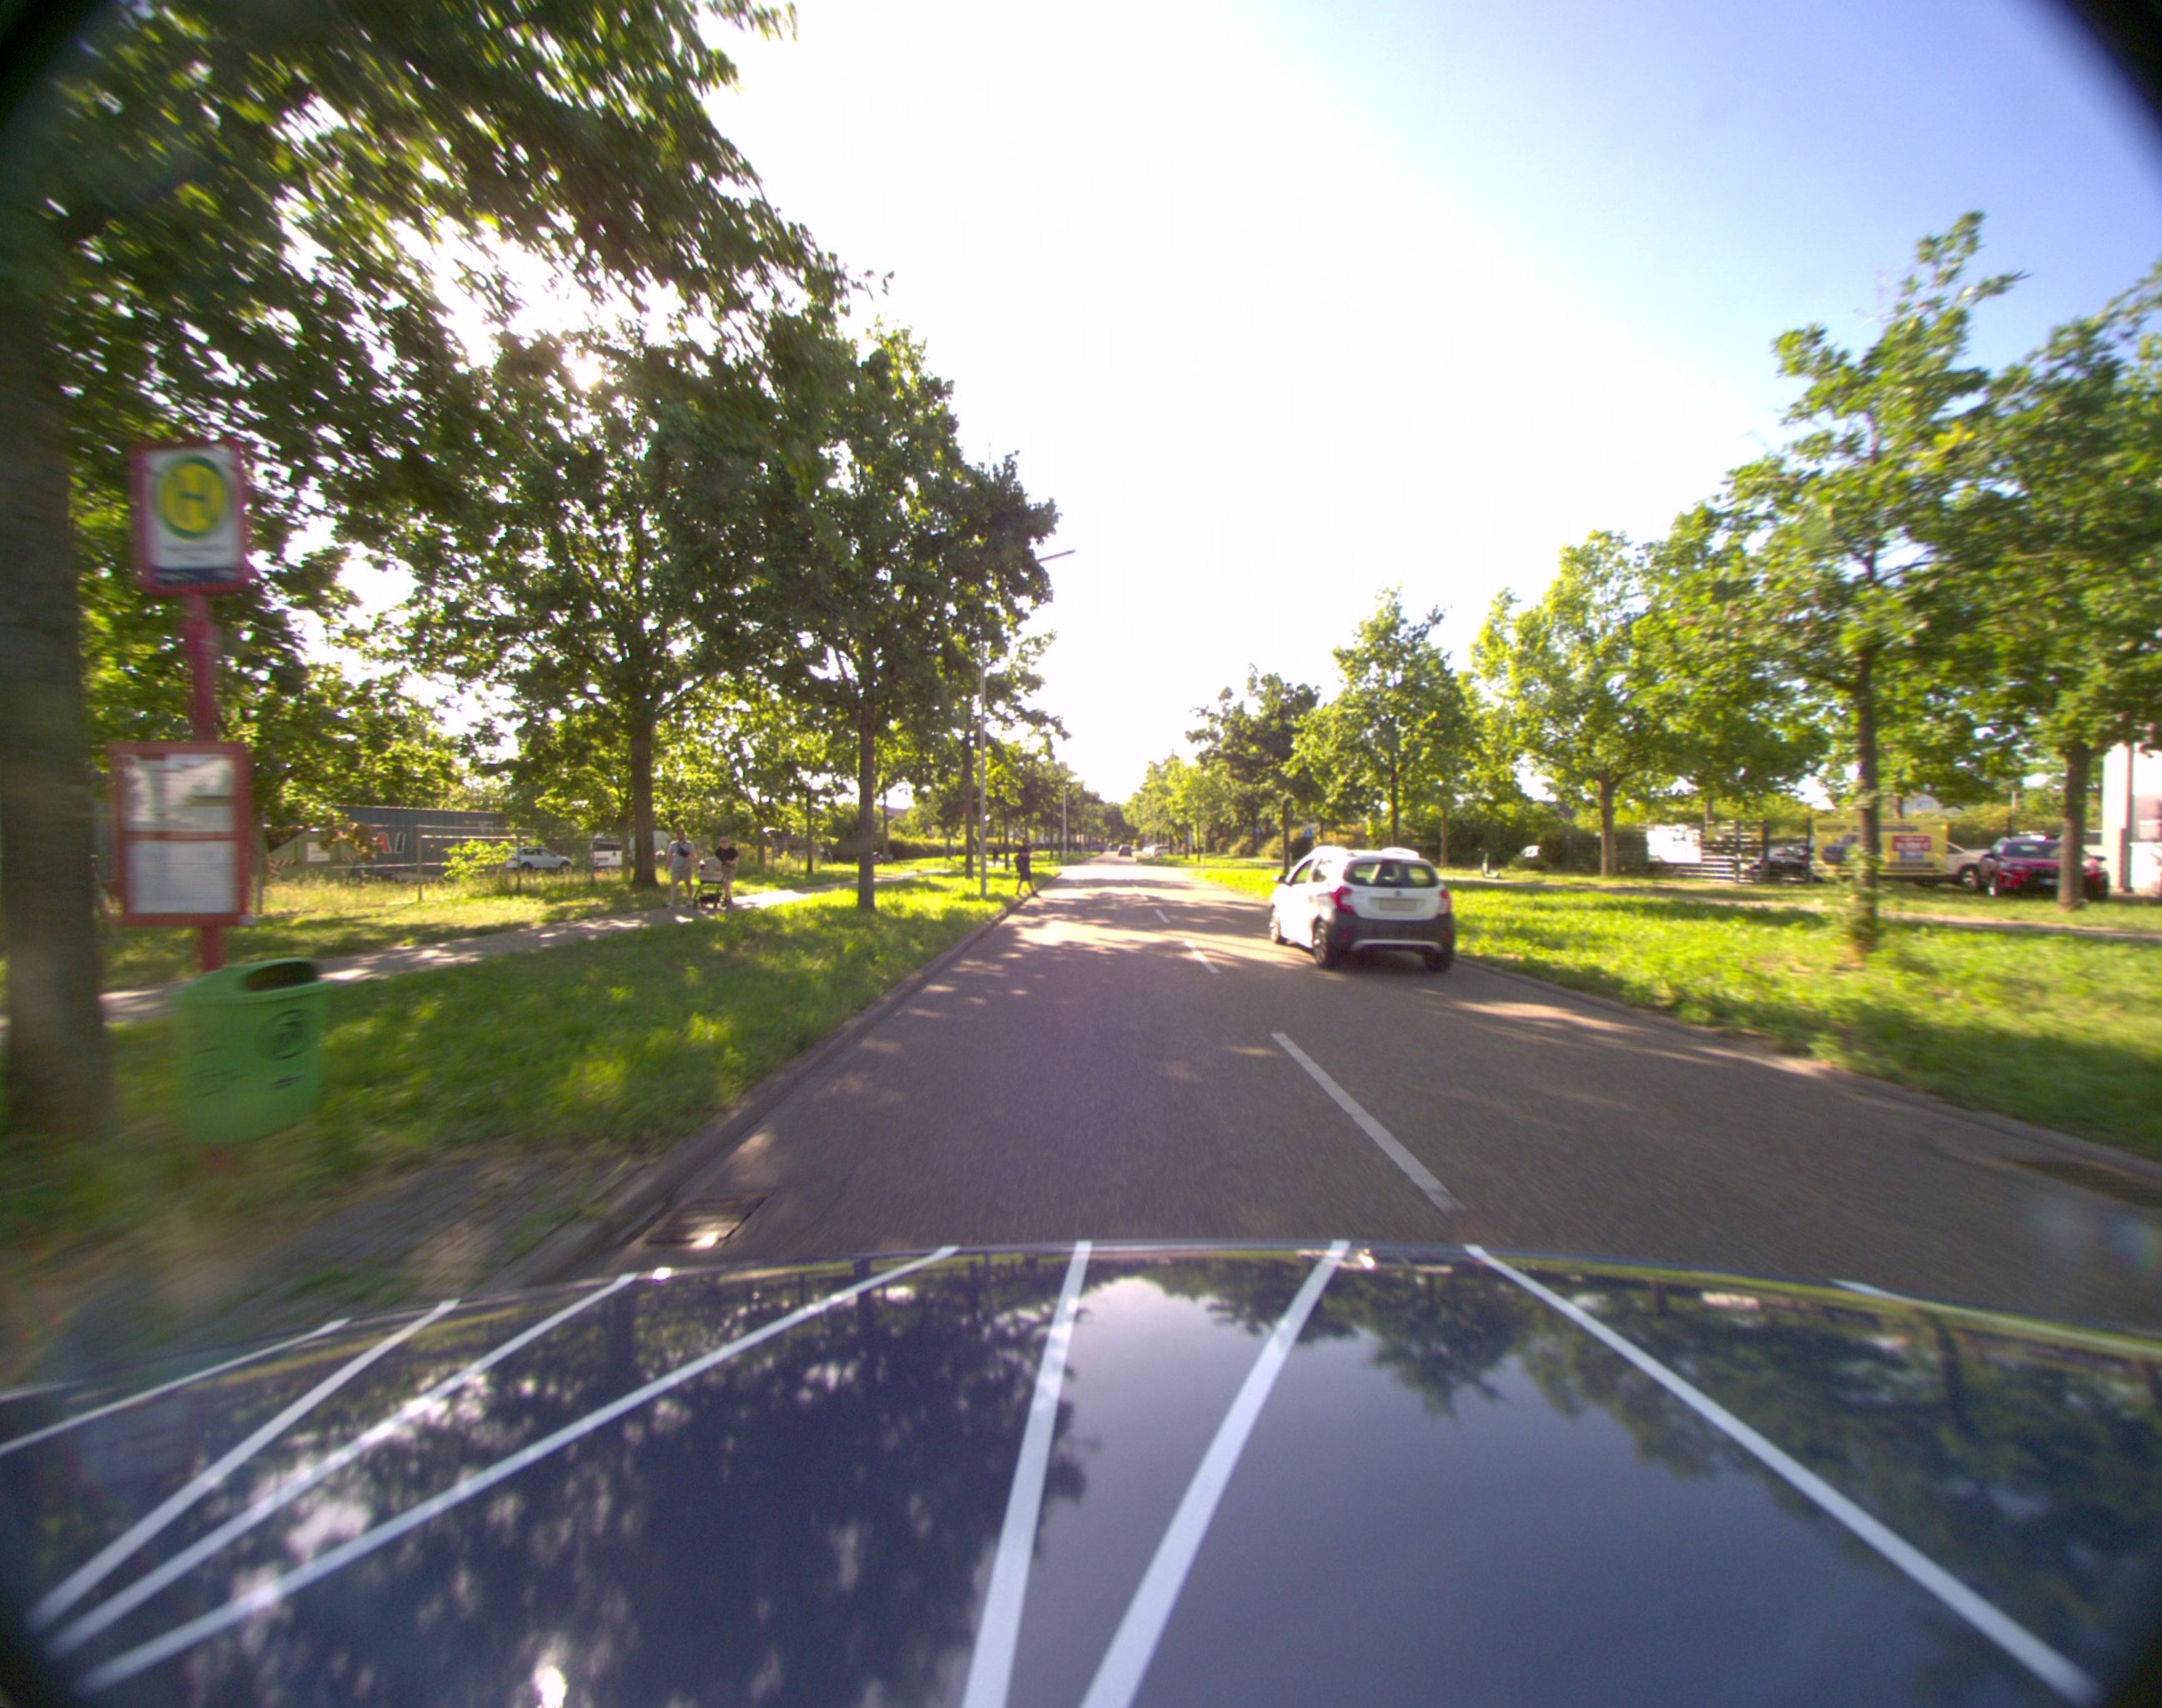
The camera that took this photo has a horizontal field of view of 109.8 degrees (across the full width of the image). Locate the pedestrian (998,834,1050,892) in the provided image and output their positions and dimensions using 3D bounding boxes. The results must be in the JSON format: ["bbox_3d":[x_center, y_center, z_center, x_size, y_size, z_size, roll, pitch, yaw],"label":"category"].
[{"bbox_3d":[-1.657,0.243,22.027,1.102,1.642,1.020,-1,2,-42],"label":"pedestrian"}]

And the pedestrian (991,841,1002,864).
[{"bbox_3d":[-6.693,-0.121,59.958,0.727,1.802,0.867,0,2,1],"label":"pedestrian"}]

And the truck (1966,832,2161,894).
[{"bbox_3d":[31.475,0.253,23.749,4.682,1.773,2.027,-2,1,12],"label":"truck"}]

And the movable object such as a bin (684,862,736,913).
[{"bbox_3d":[-8.273,0.734,16.974,0.727,1.075,0.867,2,1,1],"label":"movable object such as a bin"}]

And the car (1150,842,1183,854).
[{"bbox_3d":[11.877,-0.861,105.731,4.422,1.502,2.088,-2,1,3],"label":"car"}]

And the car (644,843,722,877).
[{"bbox_3d":[-20.424,0.260,39.174,2.010,1.655,3.596,0,1,2],"label":"car"}]

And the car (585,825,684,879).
[{"bbox_3d":[-23.067,-0.134,39.507,2.165,2.628,4.850,0,1,2],"label":"car"}]

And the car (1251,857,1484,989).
[{"bbox_3d":[3.810,0.814,11.021,1.748,1.456,4.426,1,1,1],"label":"car"}]

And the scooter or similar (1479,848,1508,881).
[{"bbox_3d":[16.177,0.402,29.848,0.396,1.272,1.441,0,1,2],"label":"scooter or similar"}]

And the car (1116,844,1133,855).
[{"bbox_3d":[5.893,-0.613,103.492,1.810,1.528,4.493,1,1,-4],"label":"car"}]

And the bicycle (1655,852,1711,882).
[{"bbox_3d":[22.868,0.475,28.930,0.641,1.081,1.891,0,1,1],"label":"bicycle"}]

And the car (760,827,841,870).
[{"bbox_3d":[-18.439,-0.298,50.313,2.087,2.550,5.980,-2,-2,13],"label":"car"}]

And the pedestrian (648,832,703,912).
[{"bbox_3d":[-9.042,0.385,16.976,0.727,1.745,0.867,0,1,1],"label":"pedestrian"}]

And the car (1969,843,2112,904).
[{"bbox_3d":[25.166,0.432,20.089,1.796,1.440,4.008,1,1,44],"label":"car"}]

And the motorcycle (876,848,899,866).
[{"bbox_3d":[-15.380,0.220,60.525,0.663,1.225,2.407,0,5,13],"label":"motorcycle"}]

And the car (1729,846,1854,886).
[{"bbox_3d":[27.348,0.399,29.424,1.798,1.440,4.004,0,1,14],"label":"car"}]

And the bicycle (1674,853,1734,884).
[{"bbox_3d":[22.526,0.501,27.530,0.641,1.081,1.891,0,1,1],"label":"bicycle"}]

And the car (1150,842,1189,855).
[{"bbox_3d":[11.050,-0.680,95.062,4.638,1.549,2.191,-2,1,0],"label":"car"}]

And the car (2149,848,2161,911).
[{"bbox_3d":[25.059,0.594,16.450,4.008,1.440,1.796,-1,1,-41],"label":"car"}]

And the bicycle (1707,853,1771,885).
[{"bbox_3d":[23.518,0.513,27.203,0.641,1.081,1.891,0,1,1],"label":"bicycle"}]

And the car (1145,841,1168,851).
[{"bbox_3d":[13.557,-1.421,136.649,4.071,1.633,1.876,-2,1,6],"label":"car"}]

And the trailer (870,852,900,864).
[{"bbox_3d":[-16.134,0.326,62.494,1.581,0.864,2.055,0,5,14],"label":"trailer"}]

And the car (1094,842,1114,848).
[{"bbox_3d":[5.248,-2.022,172.611,4.510,1.471,1.942,0,1,5],"label":"car"}]

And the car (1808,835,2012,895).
[{"bbox_3d":[26.728,0.340,24.669,4.023,1.773,2.027,-2,1,12],"label":"car"}]

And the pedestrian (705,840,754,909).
[{"bbox_3d":[-8.244,0.466,17.844,0.727,1.594,0.867,0,1,1],"label":"pedestrian"}]

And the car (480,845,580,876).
[{"bbox_3d":[-30.073,0.320,41.606,1.836,1.630,4.006,0,1,22],"label":"car"}]

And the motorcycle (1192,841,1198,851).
[{"bbox_3d":[17.330,-1.233,115.456,0.739,1.424,1.991,-4,1,4],"label":"motorcycle"}]
